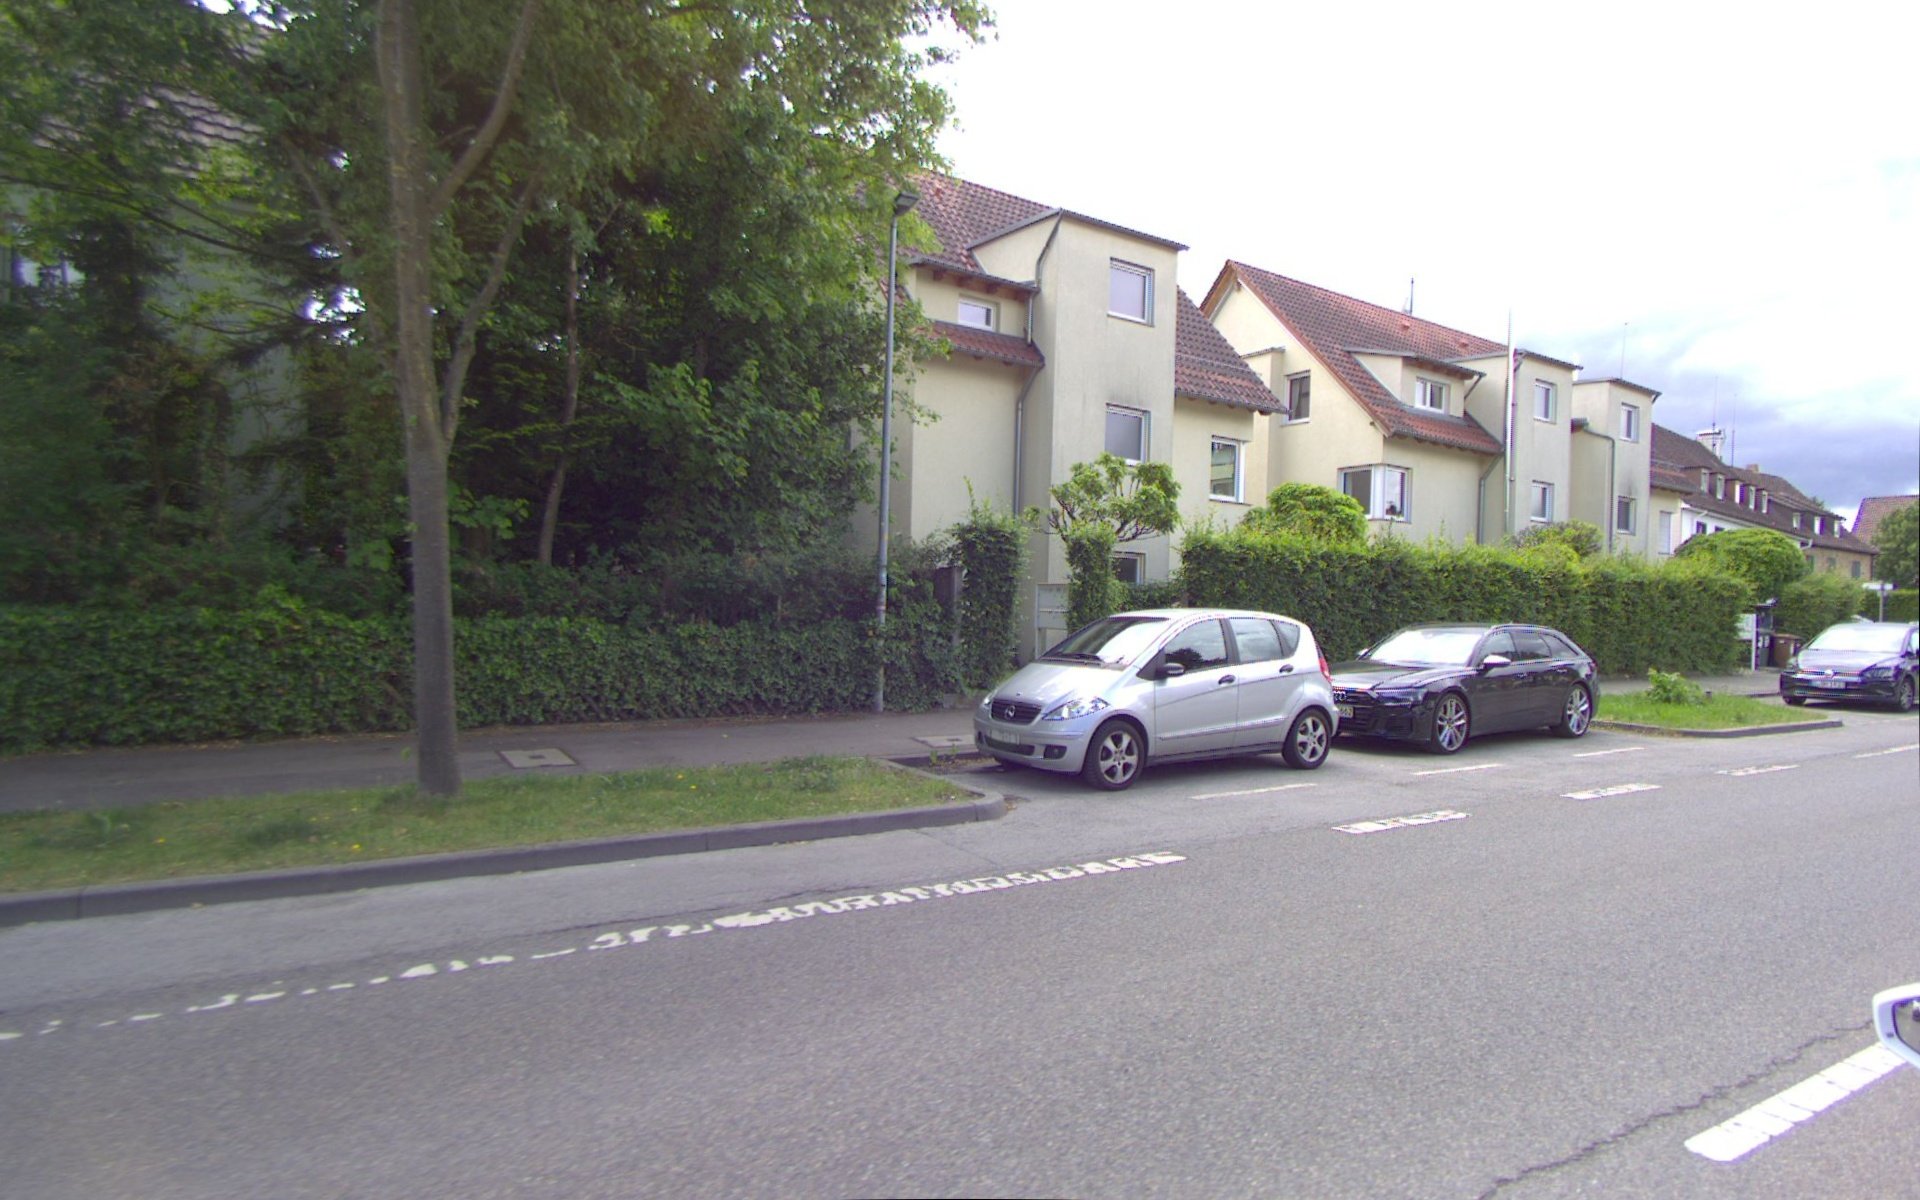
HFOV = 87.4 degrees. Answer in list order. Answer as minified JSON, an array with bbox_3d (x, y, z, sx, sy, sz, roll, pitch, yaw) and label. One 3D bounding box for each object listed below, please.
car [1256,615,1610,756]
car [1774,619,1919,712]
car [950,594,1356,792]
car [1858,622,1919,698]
[{"bbox_3d":[6.233,0.997,13.036,4.840,1.504,1.981,2,-1,-34],"label":"car"},{"bbox_3d":[17.357,1.188,19.113,4.226,1.572,1.667,2,0,-33],"label":"car"},{"bbox_3d":[1.996,0.823,10.079,3.866,1.634,1.709,2,-1,-32],"label":"car"},{"bbox_3d":[23.060,1.387,23.663,4.539,1.655,1.809,2,-1,-34],"label":"car"}]
